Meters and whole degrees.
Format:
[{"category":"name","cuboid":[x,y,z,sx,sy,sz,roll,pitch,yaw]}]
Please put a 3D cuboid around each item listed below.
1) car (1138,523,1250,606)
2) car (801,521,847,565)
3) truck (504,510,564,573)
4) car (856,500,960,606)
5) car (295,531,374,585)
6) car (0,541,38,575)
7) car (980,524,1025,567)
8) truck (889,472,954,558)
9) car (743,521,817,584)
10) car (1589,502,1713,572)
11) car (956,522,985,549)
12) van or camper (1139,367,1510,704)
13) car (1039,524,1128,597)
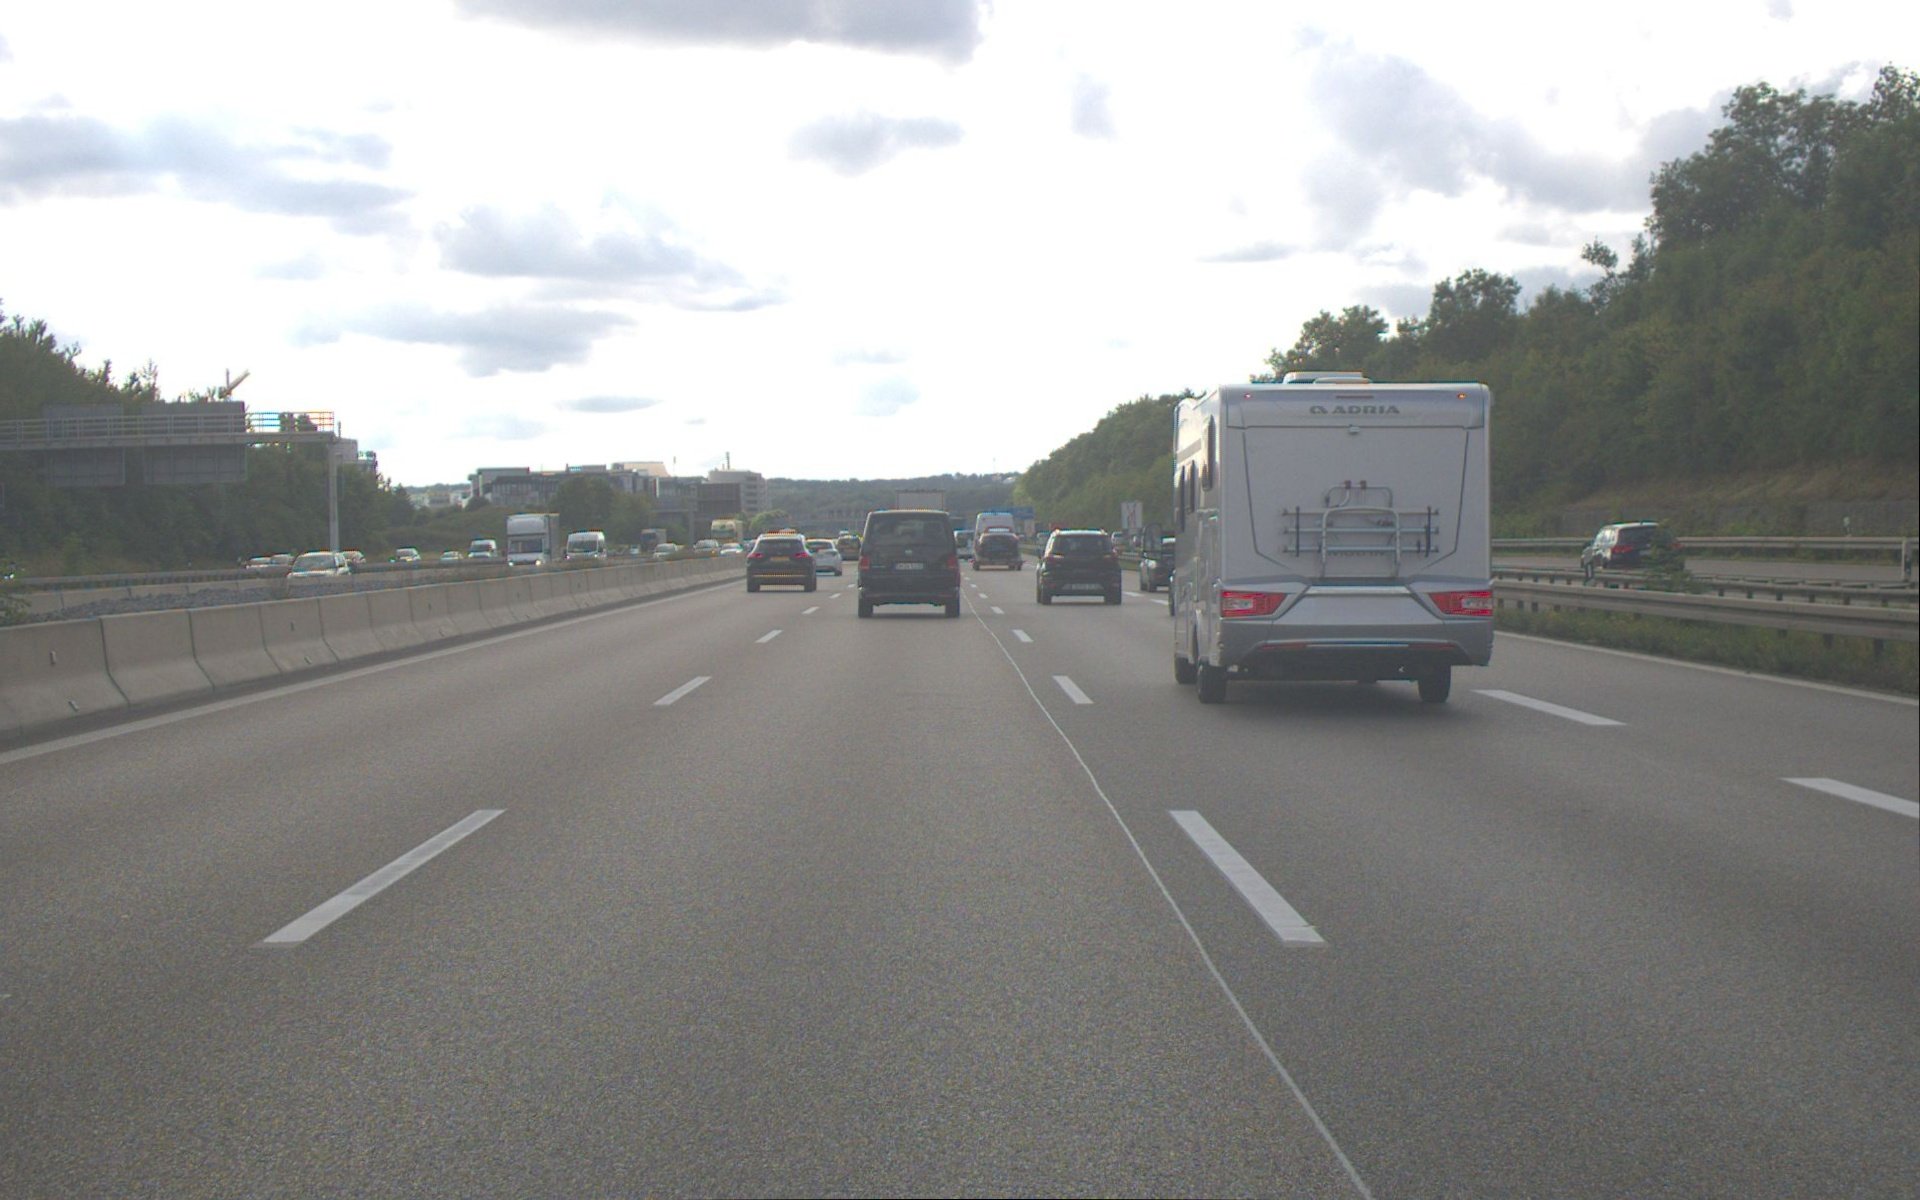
[{"category":"car","cuboid":[4.329,-0.691,64.053,1.720,1.474,4.392,0,1,-1]},{"category":"car","cuboid":[-5.177,-2.176,131.123,1.697,1.605,4.114,-1,1,-1]},{"category":"truck","cuboid":[-22.750,-3.164,183.804,2.353,3.252,7.827,-1,1,-1]},{"category":"car","cuboid":[-0.968,-0.890,63.901,1.855,1.904,4.260,0,1,-1]},{"category":"car","cuboid":[-21.782,-1.484,119.880,1.834,1.780,5.504,-1,1,-1]},{"category":"car","cuboid":[-43.569,-1.907,157.516,1.591,1.489,4.181,-1,1,-2]},{"category":"car","cuboid":[1.914,-2.507,156.289,1.913,1.912,4.031,0,1,-1]},{"category":"truck","cuboid":[-2.028,-4.423,180.436,3.263,4.360,11.027,0,1,-1]},{"category":"car","cuboid":[-4.954,-1.313,94.908,1.873,1.692,4.072,-1,1,-1]},{"category":"car","cuboid":[15.931,-1.470,79.459,1.843,1.479,4.526,-3,1,-1]},{"category":"car","cuboid":[0.646,-4.043,214.950,1.752,1.689,4.190,-1,1,-1]},{"category":"van or camper","cuboid":[3.144,-0.598,31.610,2.468,2.712,7.662,0,1,-1]},{"category":"car","cuboid":[2.716,-0.889,76.225,1.697,1.559,4.114,-1,1,-1]}]
